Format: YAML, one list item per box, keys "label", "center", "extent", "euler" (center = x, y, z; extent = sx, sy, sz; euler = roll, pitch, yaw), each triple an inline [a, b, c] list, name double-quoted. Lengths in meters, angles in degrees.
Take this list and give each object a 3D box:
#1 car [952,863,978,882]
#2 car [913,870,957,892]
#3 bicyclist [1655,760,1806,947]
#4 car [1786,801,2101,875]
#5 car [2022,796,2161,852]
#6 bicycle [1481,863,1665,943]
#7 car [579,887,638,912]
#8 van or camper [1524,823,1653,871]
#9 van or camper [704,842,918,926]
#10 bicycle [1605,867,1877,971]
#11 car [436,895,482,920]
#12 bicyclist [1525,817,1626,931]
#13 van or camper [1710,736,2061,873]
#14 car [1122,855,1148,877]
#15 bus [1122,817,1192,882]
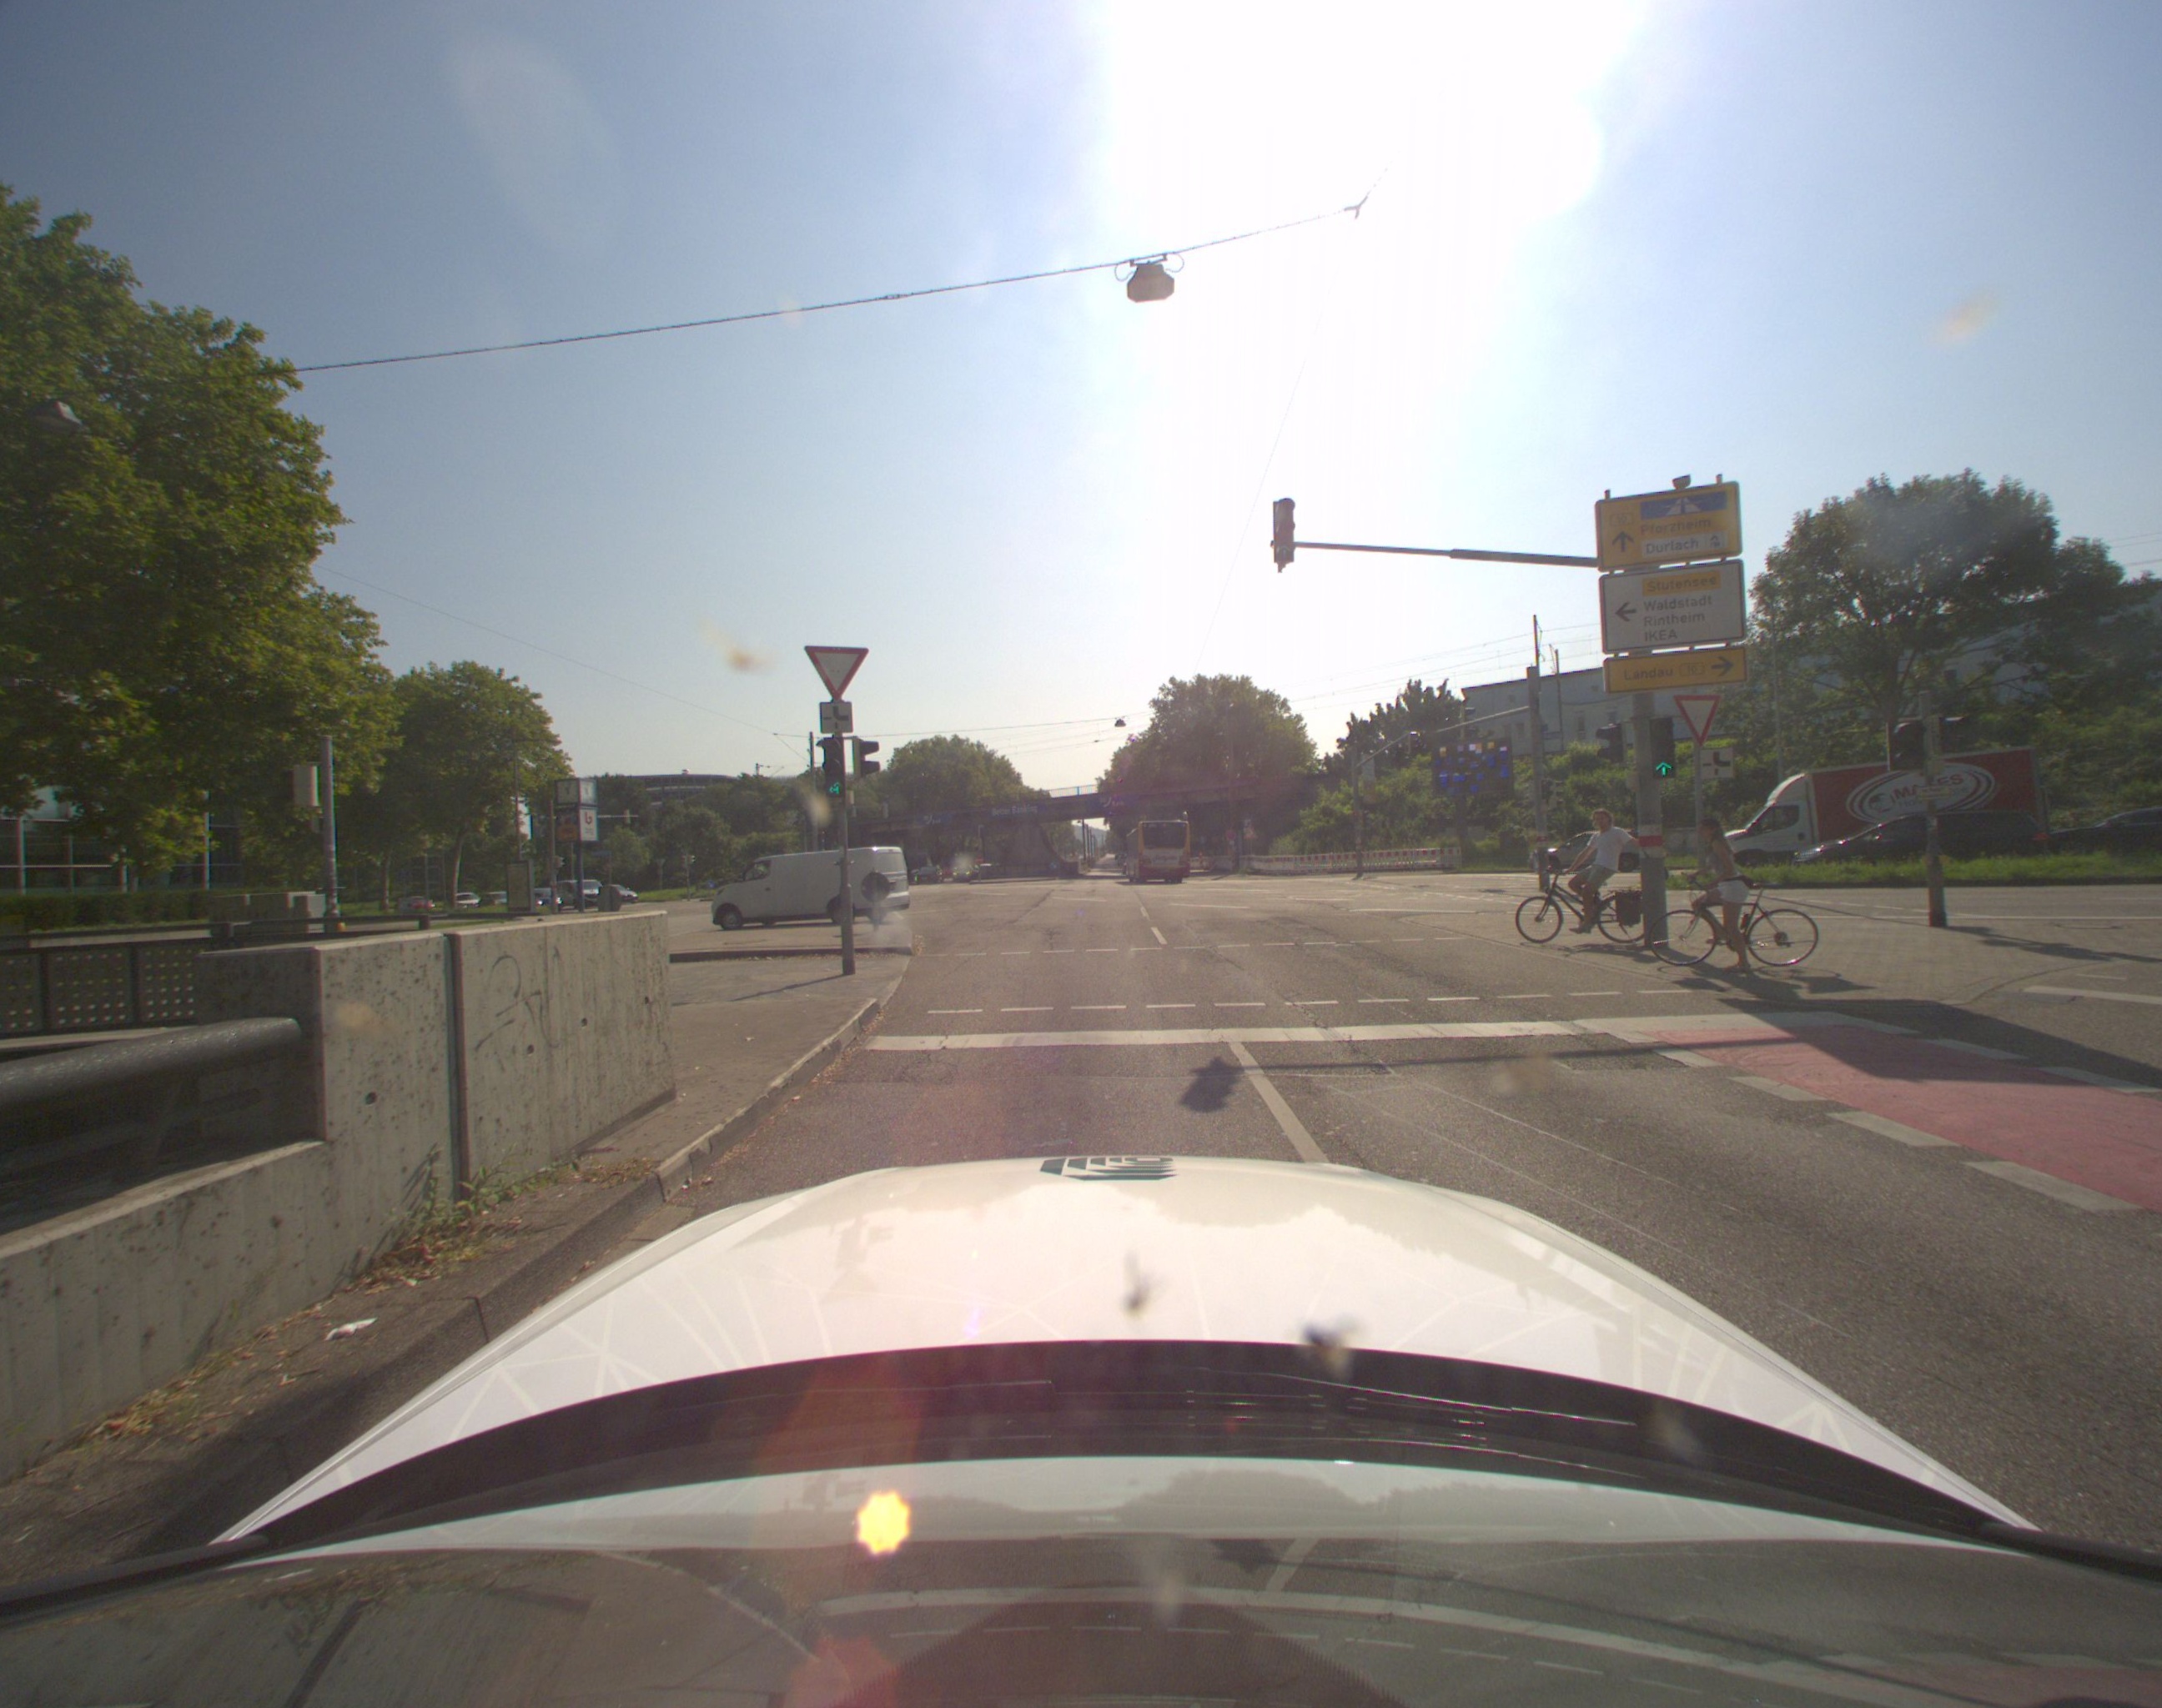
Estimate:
- label: "car"
  center: [-10.042, 1.585, 70.861]
  extent: [1.717, 1.538, 3.693]
  euler: [-4, -1, -2]
- label: "car"
  center: [-12.797, 2.334, 71.830]
  extent: [1.887, 1.617, 4.494]
  euler: [-4, -1, 17]
- label: "bicyclist"
  center: [7.330, 0.005, 9.252]
  extent: [1.191, 2.014, 0.601]
  euler: [-1, -1, 20]
- label: "car"
  center: [20.980, -0.321, 20.235]
  extent: [5.129, 1.613, 1.918]
  euler: [-1, -1, 39]
- label: "car"
  center: [31.250, -0.870, 23.710]
  extent: [4.704, 1.538, 2.101]
  euler: [-1, -1, 39]
- label: "bicycle"
  center: [7.100, 0.710, 11.900]
  extent: [2.192, 1.087, 0.777]
  euler: [-2, -2, 25]
- label: "car"
  center: [-33.757, 3.252, 58.137]
  extent: [4.546, 1.443, 1.853]
  euler: [-4, 1, 36]
- label: "van or camper"
  center: [19.945, -0.240, 32.048]
  extent: [4.120, 1.776, 1.863]
  euler: [-1, -1, 37]
- label: "van or camper"
  center: [-6.893, 0.755, 20.875]
  extent: [4.894, 1.947, 1.855]
  euler: [-2, 2, 15]
- label: "bicycle"
  center: [7.375, 0.717, 9.253]
  extent: [2.236, 1.087, 0.776]
  euler: [-2, -1, 20]
- label: "car"
  center: [-44.905, 3.857, 58.766]
  extent: [3.682, 1.535, 1.684]
  euler: [-4, 1, 38]
- label: "bicyclist"
  center: [7.199, 0.291, 11.905]
  extent: [1.190, 1.594, 0.601]
  euler: [-1, -1, 25]
- label: "van or camper"
  center: [22.111, -1.182, 23.008]
  extent: [6.762, 3.362, 2.264]
  euler: [-1, -1, 39]
- label: "car"
  center: [4.936, 1.096, 74.781]
  extent: [1.988, 2.014, 3.998]
  euler: [0, -1, -1]
- label: "bus"
  center: [3.954, -0.152, 45.304]
  extent: [3.123, 3.113, 12.294]
  euler: [0, 0, 2]
